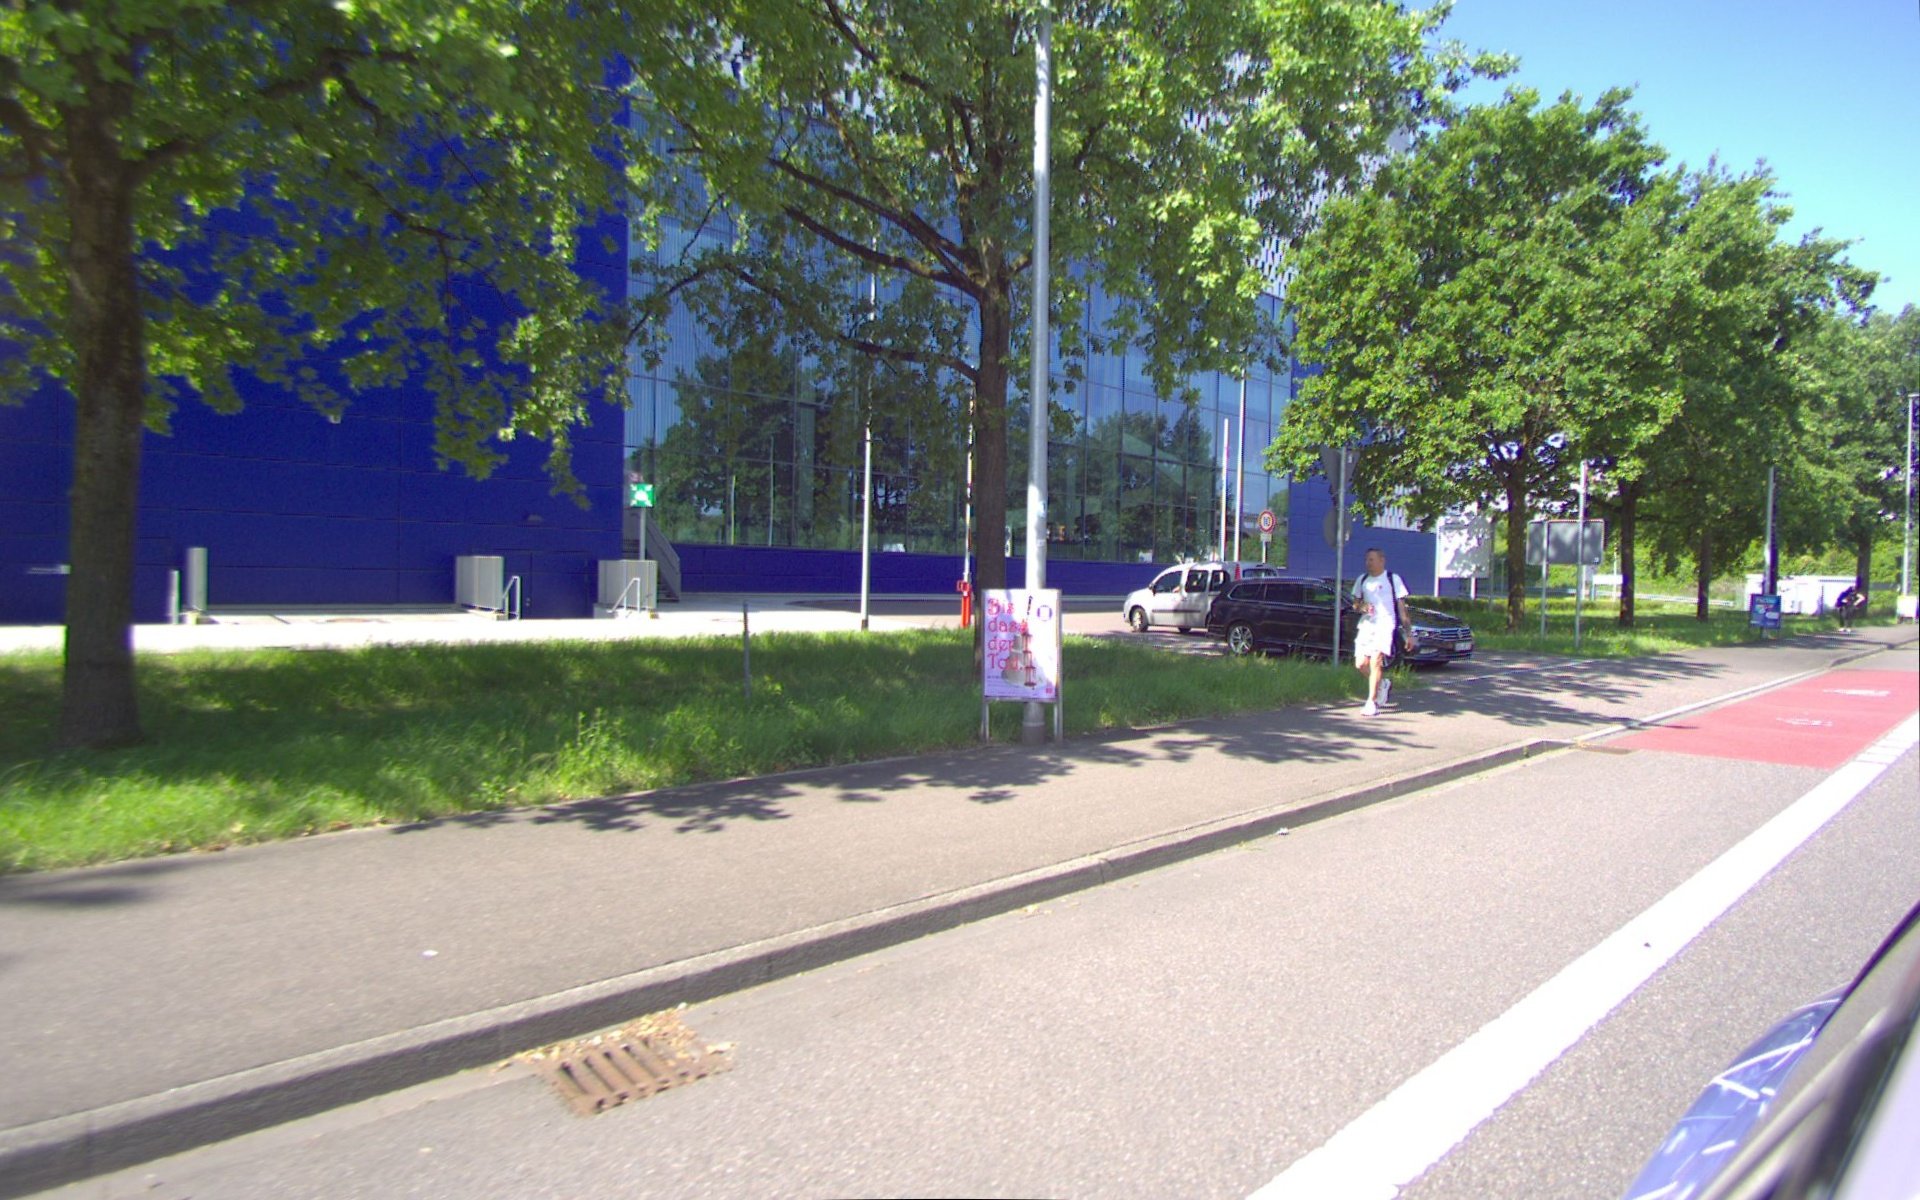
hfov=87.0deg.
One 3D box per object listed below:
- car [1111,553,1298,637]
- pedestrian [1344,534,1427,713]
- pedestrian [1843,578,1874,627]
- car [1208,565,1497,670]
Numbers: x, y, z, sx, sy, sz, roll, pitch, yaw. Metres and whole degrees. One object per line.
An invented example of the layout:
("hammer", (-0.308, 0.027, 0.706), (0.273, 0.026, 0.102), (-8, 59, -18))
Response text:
("car", (5.806, -0.188, 24.480), (1.875, 1.851, 4.181), (0, 2, -35))
("pedestrian", (4.617, 0.233, 10.979), (0.715, 1.864, 0.536), (0, 1, -41))
("pedestrian", (30.700, 0.085, 34.569), (0.831, 1.623, 0.648), (0, 2, -40))
("car", (6.605, 0.206, 17.530), (1.874, 1.539, 4.377), (0, 2, -33))
